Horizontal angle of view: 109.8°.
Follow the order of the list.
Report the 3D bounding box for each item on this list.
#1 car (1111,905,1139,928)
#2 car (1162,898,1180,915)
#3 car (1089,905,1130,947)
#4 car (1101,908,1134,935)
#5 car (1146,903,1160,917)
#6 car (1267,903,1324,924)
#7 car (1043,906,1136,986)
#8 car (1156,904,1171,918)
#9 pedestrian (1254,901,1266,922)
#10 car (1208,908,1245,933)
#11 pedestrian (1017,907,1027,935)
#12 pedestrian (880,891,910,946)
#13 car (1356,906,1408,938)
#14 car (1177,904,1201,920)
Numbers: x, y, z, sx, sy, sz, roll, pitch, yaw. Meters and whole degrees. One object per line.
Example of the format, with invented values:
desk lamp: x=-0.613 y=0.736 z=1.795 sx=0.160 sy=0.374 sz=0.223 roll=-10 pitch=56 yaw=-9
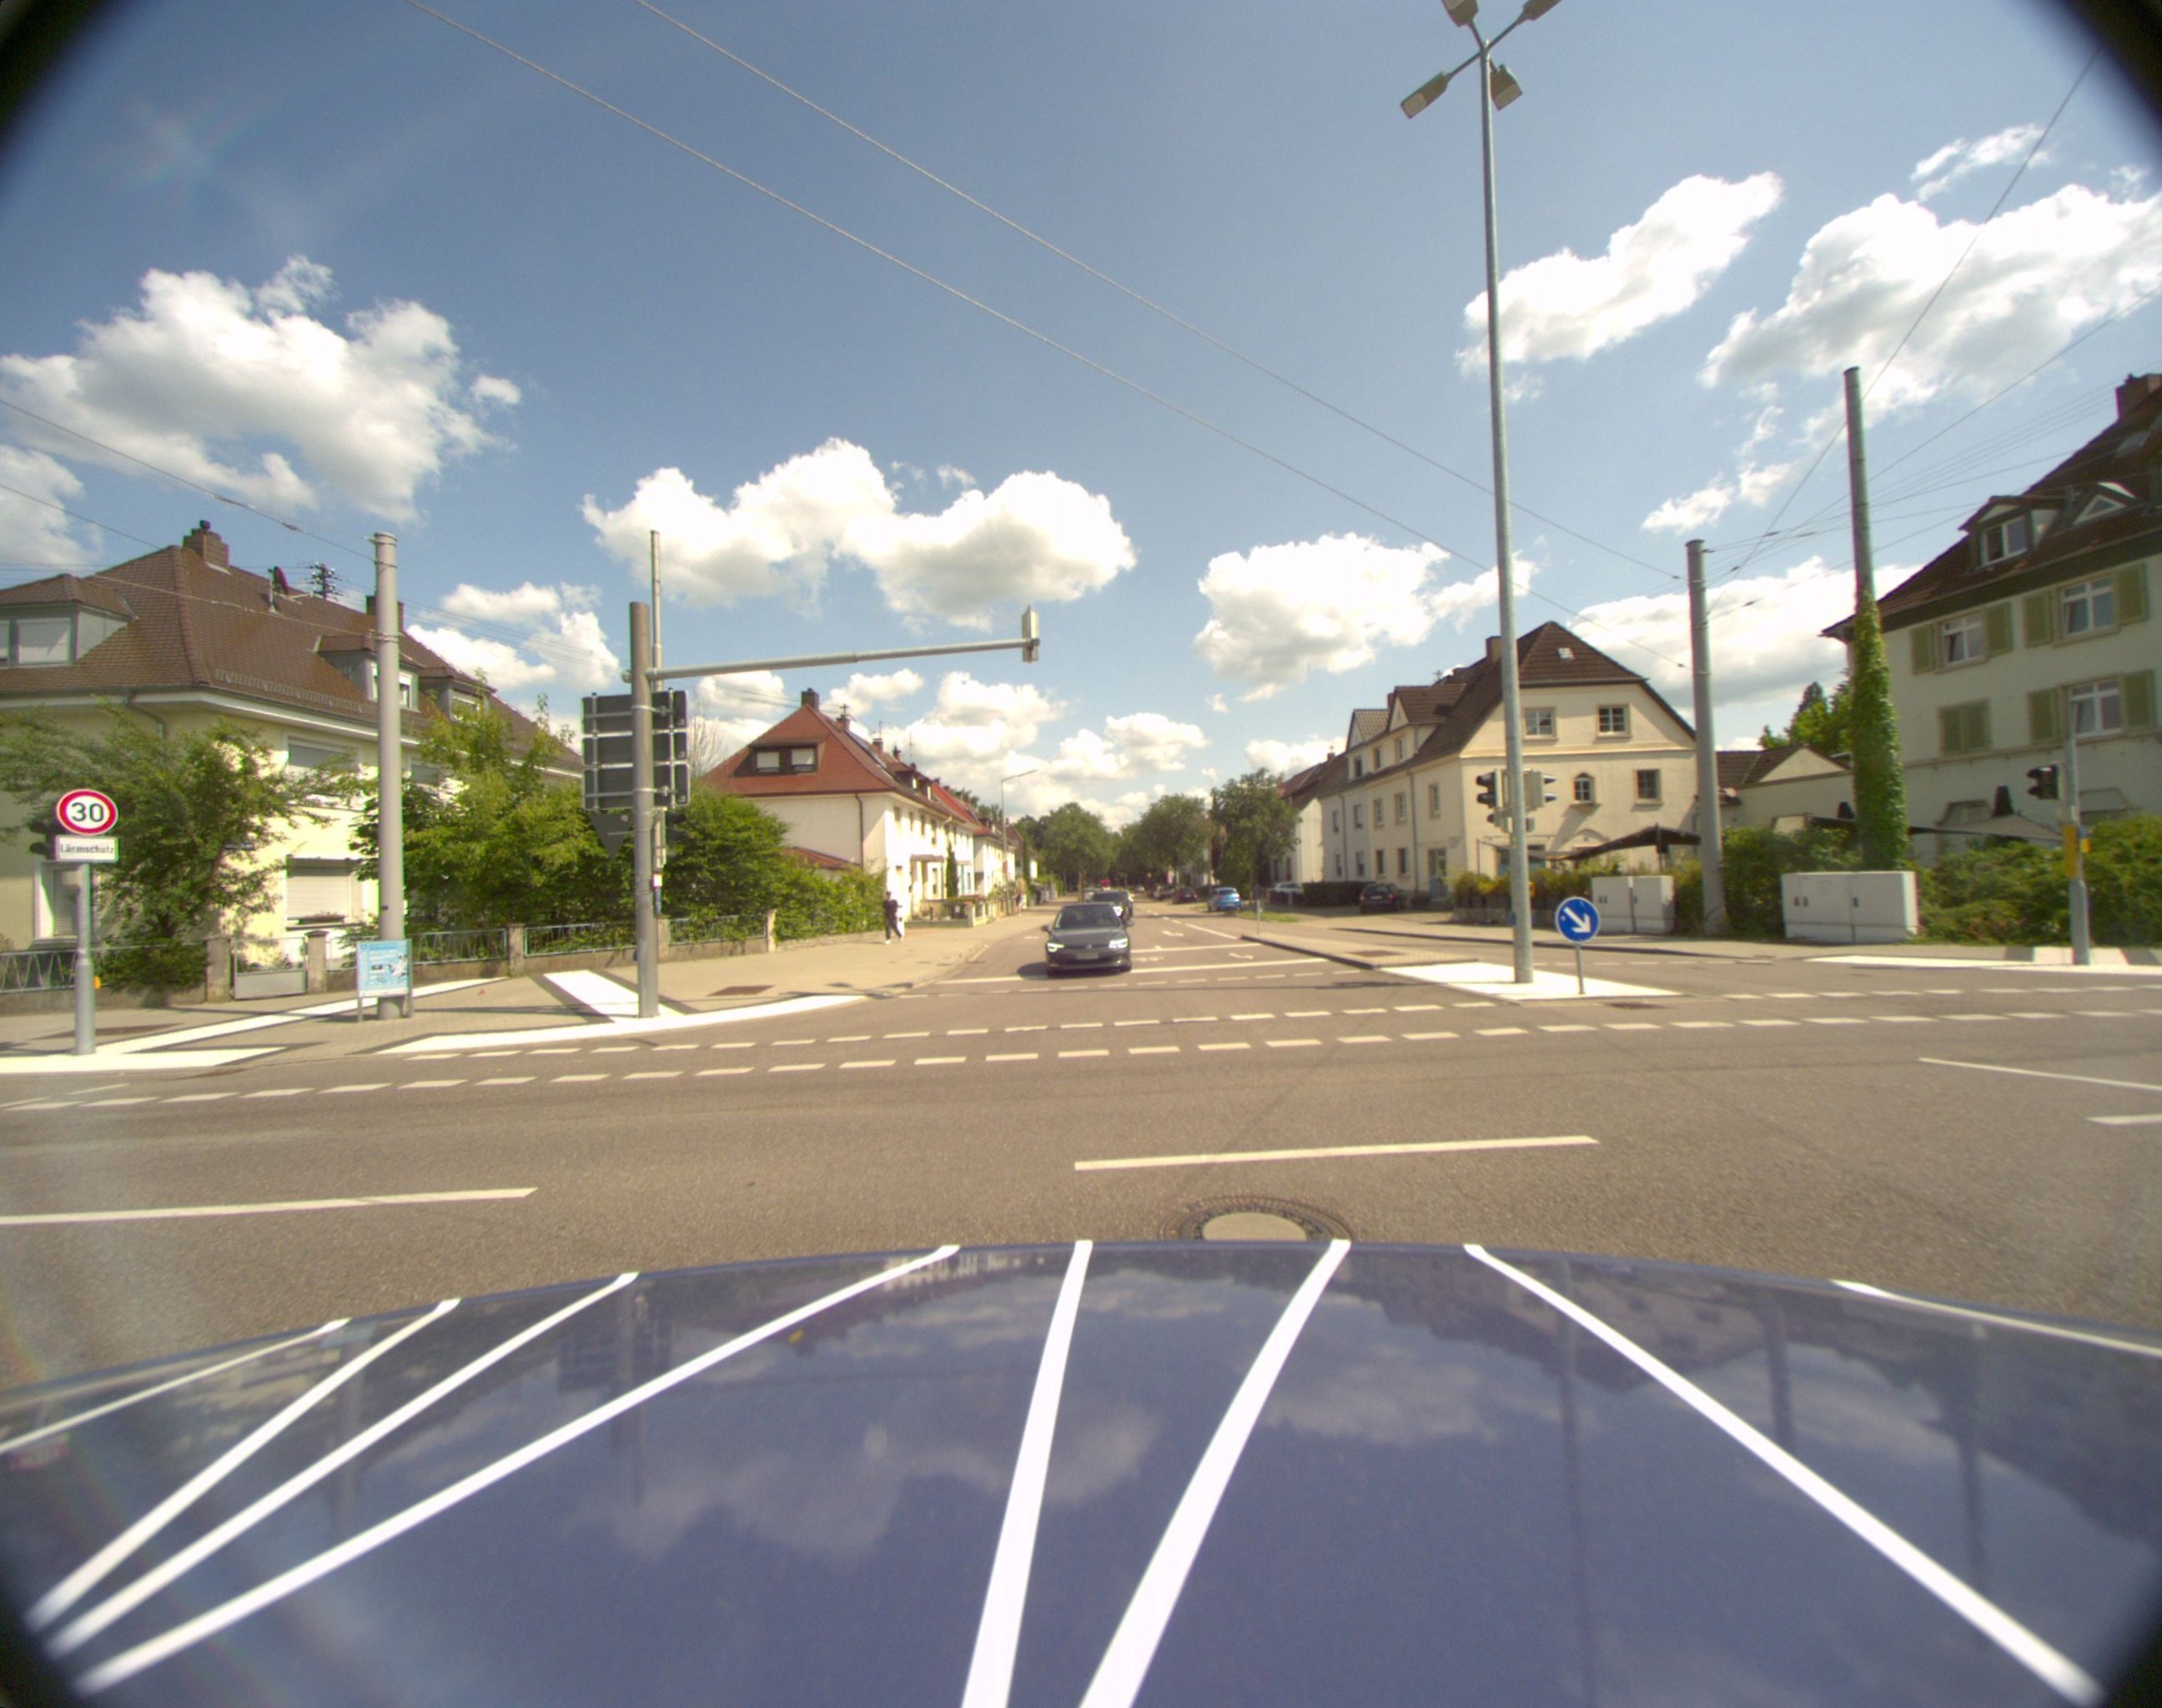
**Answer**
car: x=2.967 y=4.274 z=51.972 sx=1.709 sy=1.453 sz=3.157 roll=-2 pitch=-3 yaw=1
car: x=9.428 y=5.515 z=79.854 sx=1.562 sy=1.644 sz=3.576 roll=-2 pitch=-3 yaw=3
car: x=1.289 y=3.335 z=36.072 sx=1.776 sy=1.753 sz=4.877 roll=-2 pitch=-3 yaw=1
car: x=2.094 y=3.924 z=44.366 sx=1.709 sy=1.453 sz=3.156 roll=-1 pitch=-3 yaw=0
car: x=9.028 y=6.990 z=94.913 sx=1.562 sy=1.644 sz=3.254 roll=-2 pitch=-3 yaw=3
car: x=16.112 y=4.441 z=57.126 sx=3.805 sy=1.445 sz=1.712 roll=-2 pitch=-3 yaw=3
car: x=0.105 y=1.936 z=17.100 sx=1.766 sy=1.464 sz=4.689 roll=-1 pitch=-3 yaw=-2
car: x=9.310 y=6.429 z=85.885 sx=1.623 sy=1.416 sz=3.004 roll=-3 pitch=-3 yaw=6
pedestrian: x=13.109 y=4.200 z=55.654 sx=0.632 sy=1.525 sz=0.618 roll=-2 pitch=-3 yaw=2
car: x=9.196 y=4.211 z=48.116 sx=1.709 sy=1.453 sz=3.156 roll=-2 pitch=-3 yaw=0
pedestrian: x=-3.673 y=4.156 z=47.378 sx=0.519 sy=1.700 sz=0.618 roll=-2 pitch=-3 yaw=2
pedestrian: x=-6.073 y=2.101 z=24.815 sx=0.591 sy=1.756 sz=0.939 roll=-2 pitch=-3 yaw=14
car: x=14.922 y=3.330 z=37.542 sx=1.758 sy=1.377 sz=4.112 roll=-3 pitch=-4 yaw=30
car: x=9.337 y=4.978 z=65.999 sx=1.709 sy=1.288 sz=3.921 roll=-2 pitch=-3 yaw=3
